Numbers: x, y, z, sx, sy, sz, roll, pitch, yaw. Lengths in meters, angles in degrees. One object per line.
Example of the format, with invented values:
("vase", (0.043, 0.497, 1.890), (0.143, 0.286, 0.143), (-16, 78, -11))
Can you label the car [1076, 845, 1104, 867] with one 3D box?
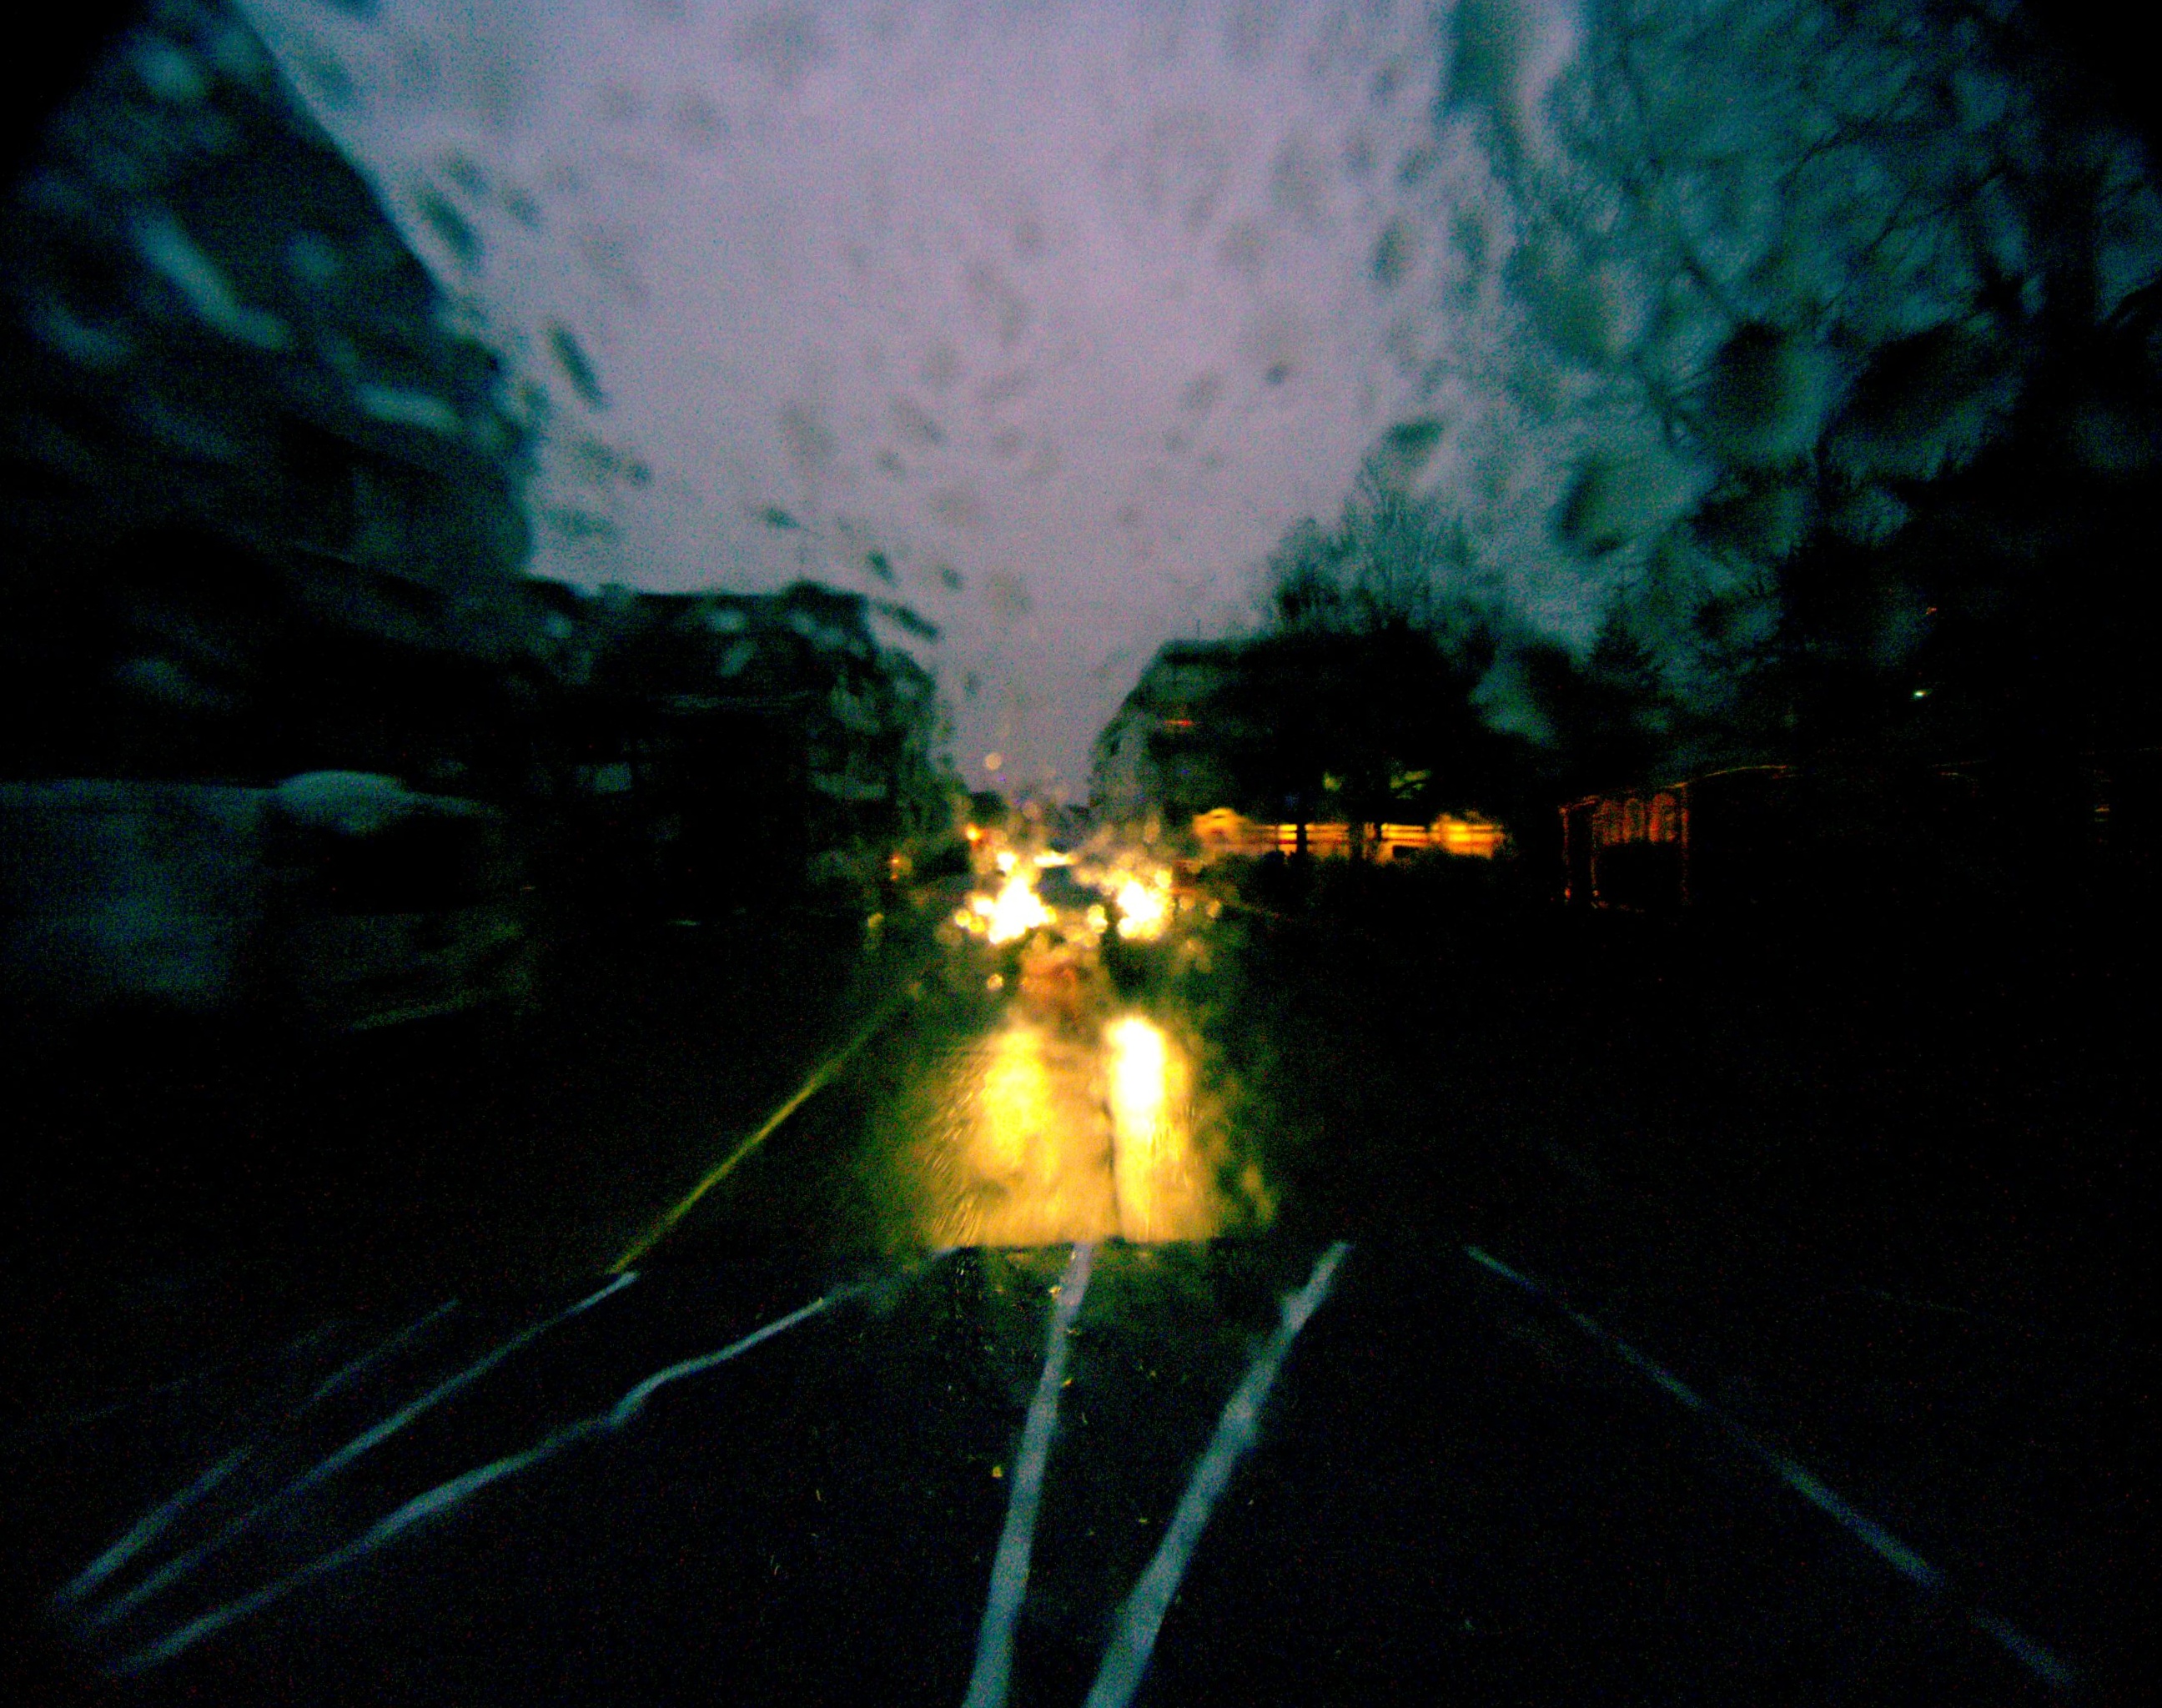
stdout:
("car", (0.679, 0.144, 60.084), (1.900, 1.607, 3.825), (-1, 1, -4))

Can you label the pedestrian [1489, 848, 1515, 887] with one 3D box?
("pedestrian", (14.716, 0.469, 26.571), (0.620, 1.332, 0.568), (-1, 1, 8))

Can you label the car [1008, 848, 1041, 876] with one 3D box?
("car", (-3.625, 0.473, 48.089), (1.924, 1.608, 3.865), (-1, 1, -6))

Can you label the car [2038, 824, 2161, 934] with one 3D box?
("car", (17.454, 0.364, 11.096), (3.988, 1.623, 1.638), (0, 1, 34))

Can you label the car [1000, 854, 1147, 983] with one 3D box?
("car", (-0.117, 0.774, 10.952), (1.731, 1.475, 3.603), (-2, 1, -1))

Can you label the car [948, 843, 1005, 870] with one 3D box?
("car", (-7.478, 0.183, 54.201), (3.891, 1.866, 1.867), (0, 1, -10))

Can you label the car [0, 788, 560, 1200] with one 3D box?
("car", (-5.706, 0.569, 4.457), (4.051, 1.833, 1.864), (2, 2, 3))

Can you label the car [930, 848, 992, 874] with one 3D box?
("car", (-7.669, 0.446, 48.707), (3.854, 1.618, 1.610), (1, 1, -9))

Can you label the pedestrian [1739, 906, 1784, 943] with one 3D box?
("pedestrian", (9.720, 0.998, 10.854), (0.295, 0.482, 0.361), (1, 1, 1))

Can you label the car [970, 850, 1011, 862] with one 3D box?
("car", (-8.644, 0.184, 72.688), (3.889, 1.121, 1.550), (0, 1, -5))

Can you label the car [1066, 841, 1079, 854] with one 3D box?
("car", (-1.368, -0.969, 120.947), (1.838, 2.002, 3.698), (-1, 1, -5))
